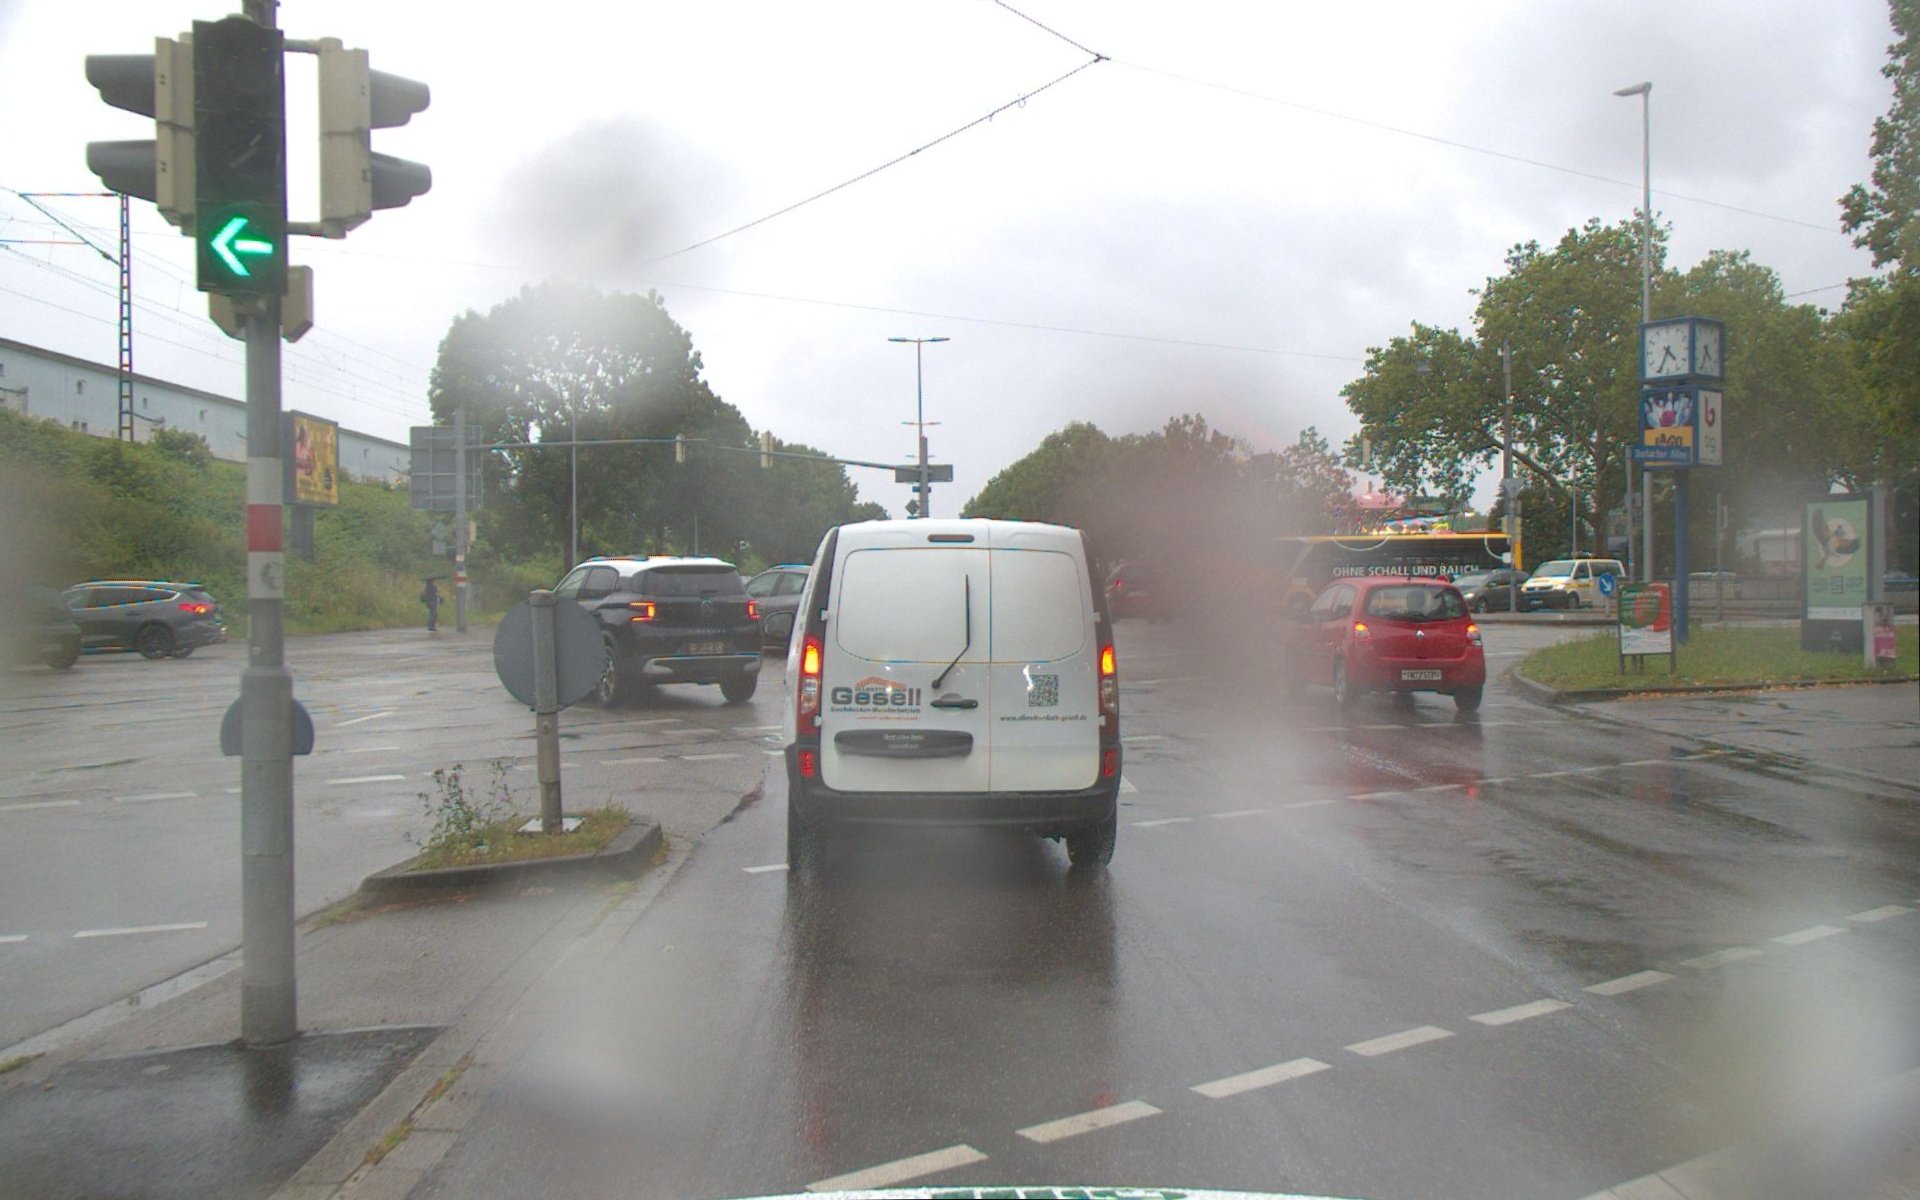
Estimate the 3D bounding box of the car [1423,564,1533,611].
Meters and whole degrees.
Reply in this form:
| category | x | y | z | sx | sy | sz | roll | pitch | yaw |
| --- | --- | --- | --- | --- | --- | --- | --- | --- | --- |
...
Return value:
| category | x | y | z | sx | sy | sz | roll | pitch | yaw |
| --- | --- | --- | --- | --- | --- | --- | --- | --- | --- |
| car | 19.441 | -0.482 | 61.993 | 4.299 | 1.679 | 1.907 | -2 | 1 | -39 |

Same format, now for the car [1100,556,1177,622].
| category | x | y | z | sx | sy | sz | roll | pitch | yaw |
| --- | --- | --- | --- | --- | --- | --- | --- | --- | --- |
| car | 4.817 | -0.321 | 45.072 | 1.599 | 1.684 | 3.484 | 1 | 1 | -2 |

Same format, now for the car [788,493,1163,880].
| category | x | y | z | sx | sy | sz | roll | pitch | yaw |
| --- | --- | --- | --- | --- | --- | --- | --- | --- | --- |
| car | -0.120 | 0.387 | 9.810 | 1.722 | 1.808 | 3.995 | 1 | 1 | -7 |

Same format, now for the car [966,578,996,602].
| category | x | y | z | sx | sy | sz | roll | pitch | yaw |
| --- | --- | --- | --- | --- | --- | --- | --- | --- | --- |
| car | 1.472 | -0.705 | 117.747 | 1.956 | 1.646 | 3.999 | -1 | 1 | -2 |

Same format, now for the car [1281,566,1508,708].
| category | x | y | z | sx | sy | sz | roll | pitch | yaw |
| --- | --- | --- | --- | --- | --- | --- | --- | --- | --- |
| car | 5.031 | 0.370 | 19.630 | 1.645 | 1.517 | 3.620 | 0 | 1 | -2 |

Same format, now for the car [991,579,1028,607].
| category | x | y | z | sx | sy | sz | roll | pitch | yaw |
| --- | --- | --- | --- | --- | --- | --- | --- | --- | --- |
| car | 3.011 | -0.432 | 100.955 | 1.956 | 1.646 | 3.999 | -1 | 1 | -2 |

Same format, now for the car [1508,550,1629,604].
| category | x | y | z | sx | sy | sz | roll | pitch | yaw |
| --- | --- | --- | --- | --- | --- | --- | --- | --- | --- |
| car | 22.429 | -0.854 | 60.895 | 4.699 | 1.881 | 2.049 | -2 | 1 | -39 |

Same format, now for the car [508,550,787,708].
| category | x | y | z | sx | sy | sz | roll | pitch | yaw |
| --- | --- | --- | --- | --- | --- | --- | --- | --- | --- |
| car | -3.751 | 0.265 | 19.367 | 1.899 | 1.637 | 3.956 | -1 | 1 | -32 |

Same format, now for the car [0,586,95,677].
| category | x | y | z | sx | sy | sz | roll | pitch | yaw |
| --- | --- | --- | --- | --- | --- | --- | --- | --- | --- |
| car | -15.484 | 0.478 | 25.644 | 3.373 | 1.328 | 1.585 | -1 | 1 | 10 |

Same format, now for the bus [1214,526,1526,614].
| category | x | y | z | sx | sy | sz | roll | pitch | yaw |
| --- | --- | --- | --- | --- | --- | --- | --- | --- | --- |
| bus | 16.751 | -1.242 | 68.085 | 12.003 | 3.325 | 3.273 | -1 | 1 | -2 |

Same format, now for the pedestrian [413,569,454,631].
| category | x | y | z | sx | sy | sz | roll | pitch | yaw |
| --- | --- | --- | --- | --- | --- | --- | --- | --- | --- |
| pedestrian | -15.002 | 0.002 | 47.157 | 0.983 | 1.749 | 0.818 | -1 | 1 | -10 |

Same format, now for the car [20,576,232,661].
| category | x | y | z | sx | sy | sz | roll | pitch | yaw |
| --- | --- | --- | --- | --- | --- | --- | --- | --- | --- |
| car | -15.829 | 0.332 | 31.528 | 3.287 | 1.499 | 1.564 | -1 | 1 | -14 |

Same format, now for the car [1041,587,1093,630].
| category | x | y | z | sx | sy | sz | roll | pitch | yaw |
| --- | --- | --- | --- | --- | --- | --- | --- | --- | --- |
| car | 4.293 | 0.309 | 66.778 | 1.805 | 1.646 | 4.000 | 1 | 1 | -1 |
